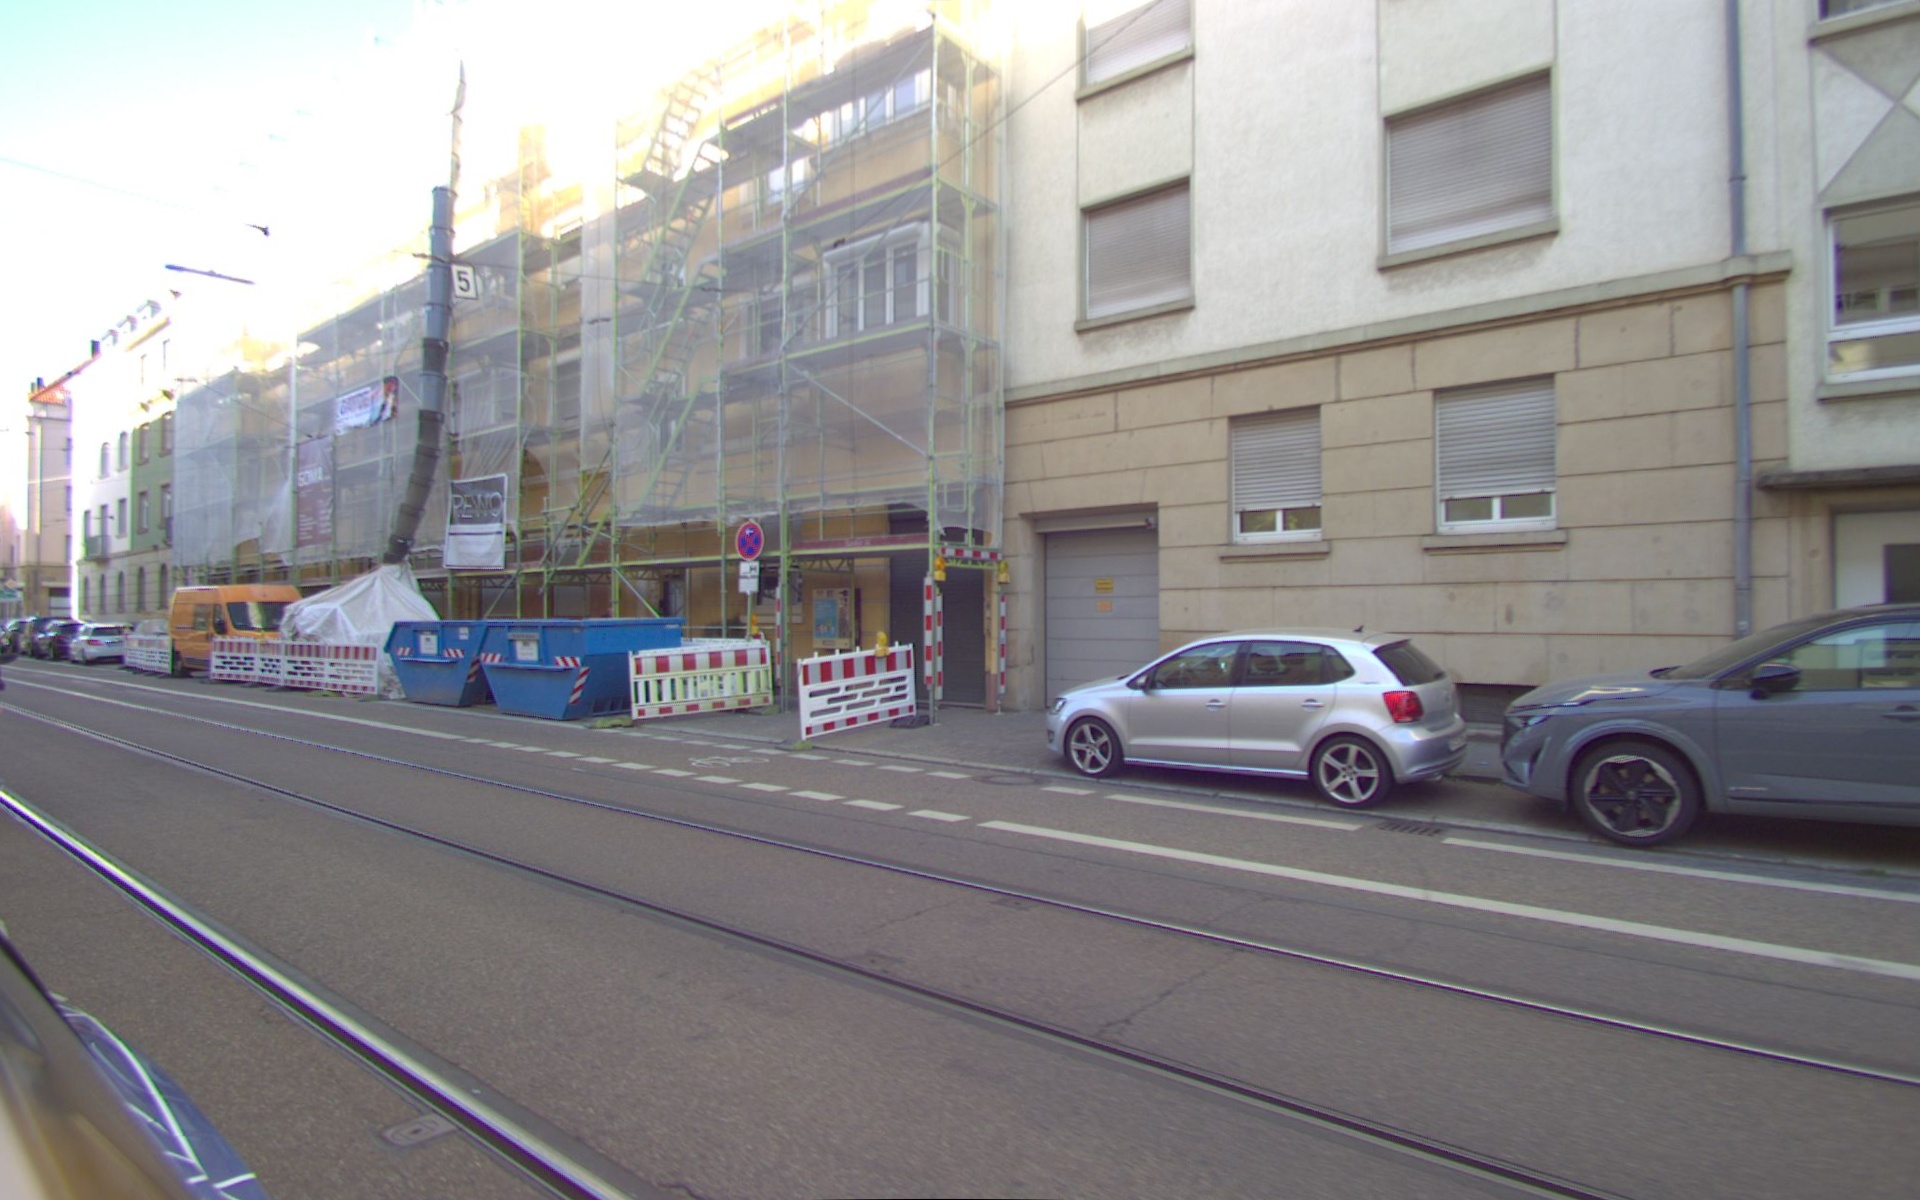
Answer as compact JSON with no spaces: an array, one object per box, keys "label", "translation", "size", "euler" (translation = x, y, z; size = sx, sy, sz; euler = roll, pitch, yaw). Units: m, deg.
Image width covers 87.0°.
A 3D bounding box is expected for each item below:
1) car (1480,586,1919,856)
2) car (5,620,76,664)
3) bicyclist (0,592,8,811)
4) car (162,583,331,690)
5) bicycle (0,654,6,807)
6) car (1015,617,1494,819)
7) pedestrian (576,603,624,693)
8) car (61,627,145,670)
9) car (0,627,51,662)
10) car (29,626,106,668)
[{"label":"car","translation":[6.050,0.722,6.675],"size":[4.402,1.580,1.682],"euler":[-1,-2,40]},{"label":"car","translation":[-41.522,1.877,45.666],"size":[3.764,1.860,1.777],"euler":[-1,0,38]},{"label":"bicyclist","translation":[-7.459,0.729,7.294],"size":[0.831,1.566,0.851],"euler":[2,-3,-43]},{"label":"car","translation":[-18.751,0.945,26.470],"size":[5.995,2.488,2.098],"euler":[-2,-3,40]},{"label":"bicycle","translation":[-7.453,1.007,7.330],"size":[0.729,1.186,1.976],"euler":[2,-2,-42]},{"label":"car","translation":[2.638,0.920,9.557],"size":[3.997,1.426,1.682],"euler":[-1,2,40]},{"label":"pedestrian","translation":[-6.981,0.920,19.630],"size":[0.716,1.707,0.574],"euler":[-2,-2,39]},{"label":"car","translation":[-32.267,1.802,38.060],"size":[3.996,1.523,1.729],"euler":[-2,-3,40]},{"label":"car","translation":[-45.362,2.099,48.858],"size":[3.769,1.622,1.774],"euler":[-2,-2,42]},{"label":"car","translation":[-36.939,1.917,41.857],"size":[4.217,1.590,1.682],"euler":[-1,0,38]}]
